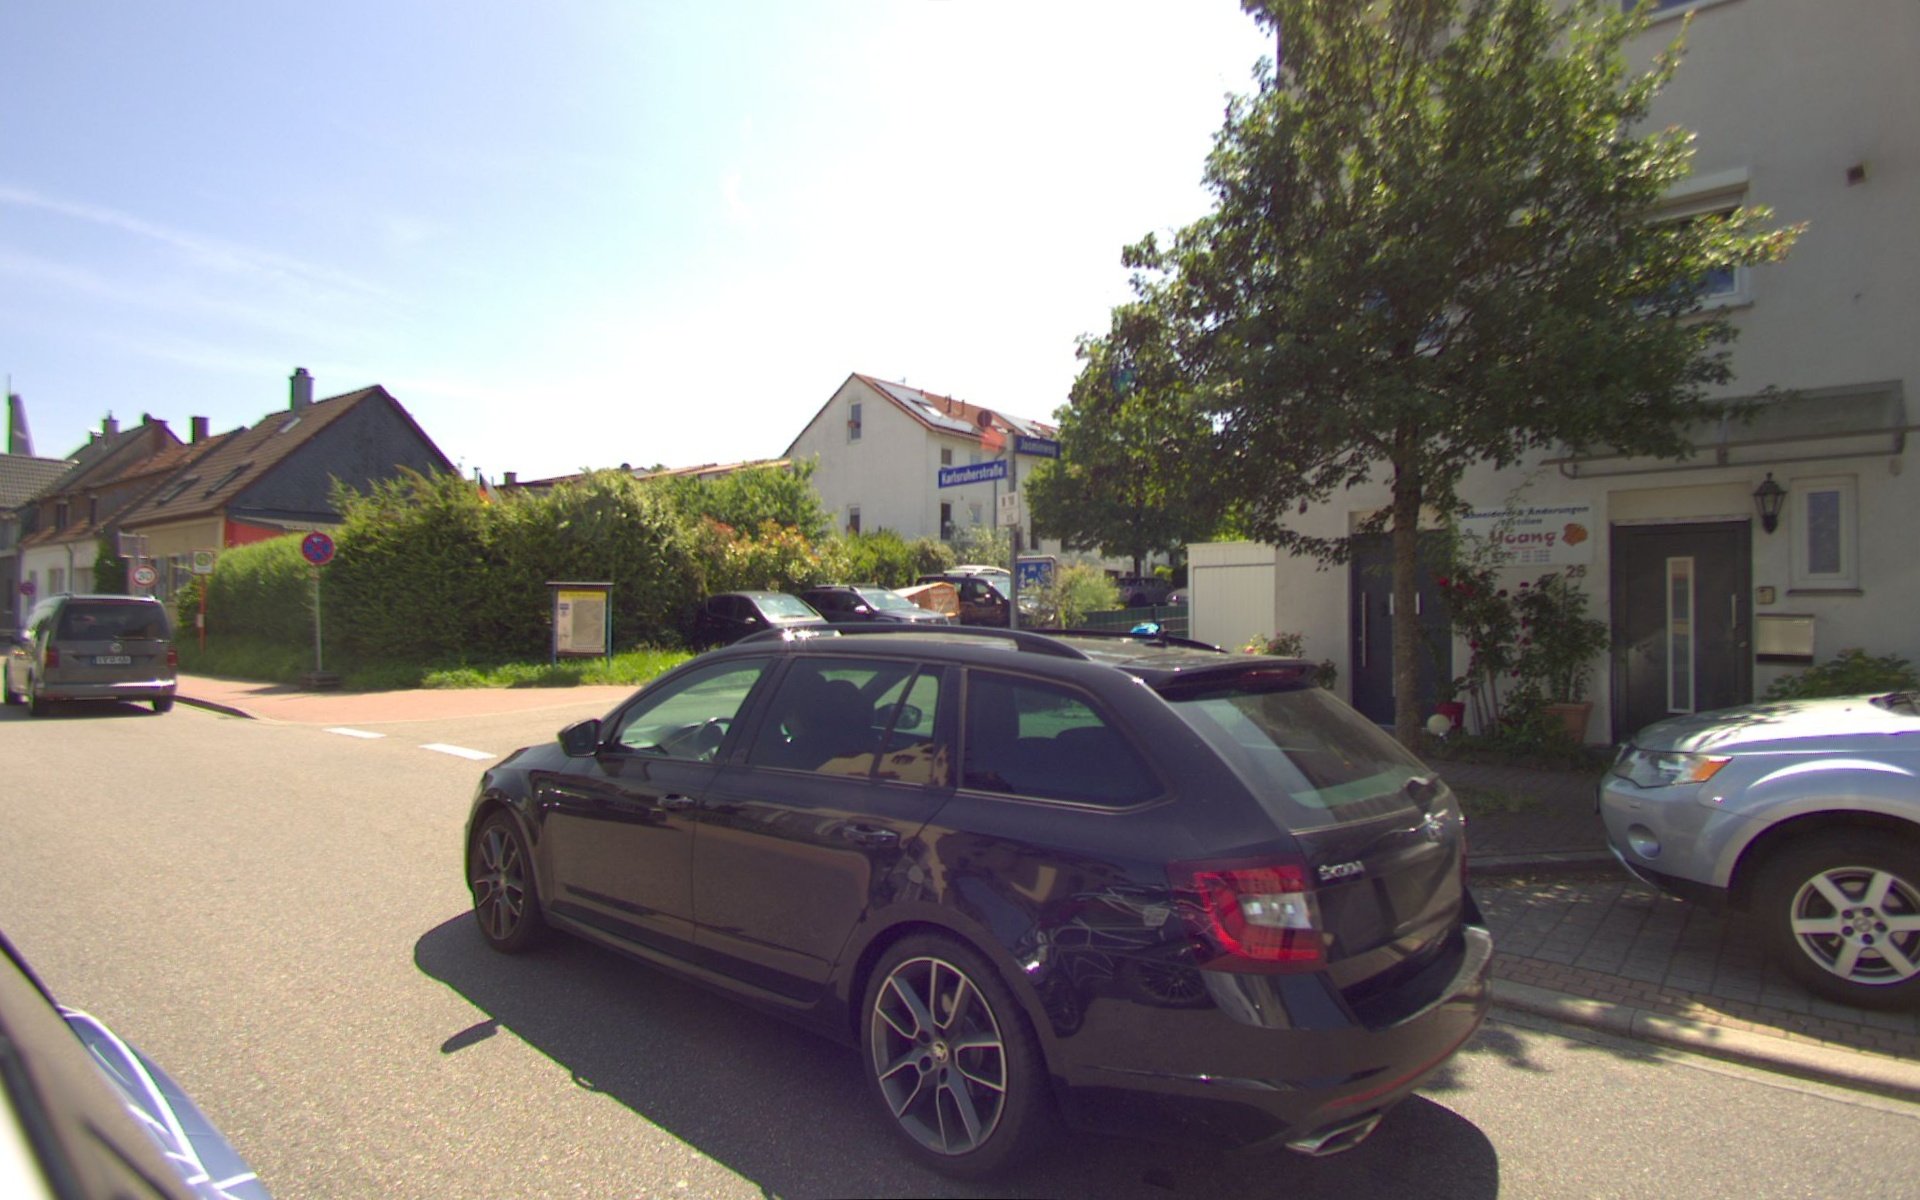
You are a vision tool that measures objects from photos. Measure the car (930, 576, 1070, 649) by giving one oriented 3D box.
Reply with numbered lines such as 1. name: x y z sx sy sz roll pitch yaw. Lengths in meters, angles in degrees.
1. car: 1.015 0.315 27.023 3.552 1.794 1.605 -1 1 44

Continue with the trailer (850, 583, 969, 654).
1. trailer: -1.302 0.452 25.864 2.688 1.676 1.413 -1 2 37

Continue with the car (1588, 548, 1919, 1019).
1. car: 4.951 0.649 3.500 4.522 1.699 1.689 -1 -1 40

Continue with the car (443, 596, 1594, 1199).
1. car: -0.201 0.795 3.884 4.253 1.458 1.701 -1 -4 41

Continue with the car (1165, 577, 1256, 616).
1. car: 9.798 -0.146 39.545 3.580 1.462 1.595 0 0 -38

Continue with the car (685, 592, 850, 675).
1. car: -4.138 0.655 21.433 3.653 1.552 1.605 -1 1 44

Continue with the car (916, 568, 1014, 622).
1. car: 0.208 -0.195 34.478 1.419 1.747 3.594 0 1 39

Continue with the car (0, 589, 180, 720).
1. car: -14.302 0.839 16.491 4.462 1.869 1.638 -1 -3 41

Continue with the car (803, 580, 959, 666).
1. car: -1.852 0.481 23.064 3.511 1.793 1.605 -1 1 44
